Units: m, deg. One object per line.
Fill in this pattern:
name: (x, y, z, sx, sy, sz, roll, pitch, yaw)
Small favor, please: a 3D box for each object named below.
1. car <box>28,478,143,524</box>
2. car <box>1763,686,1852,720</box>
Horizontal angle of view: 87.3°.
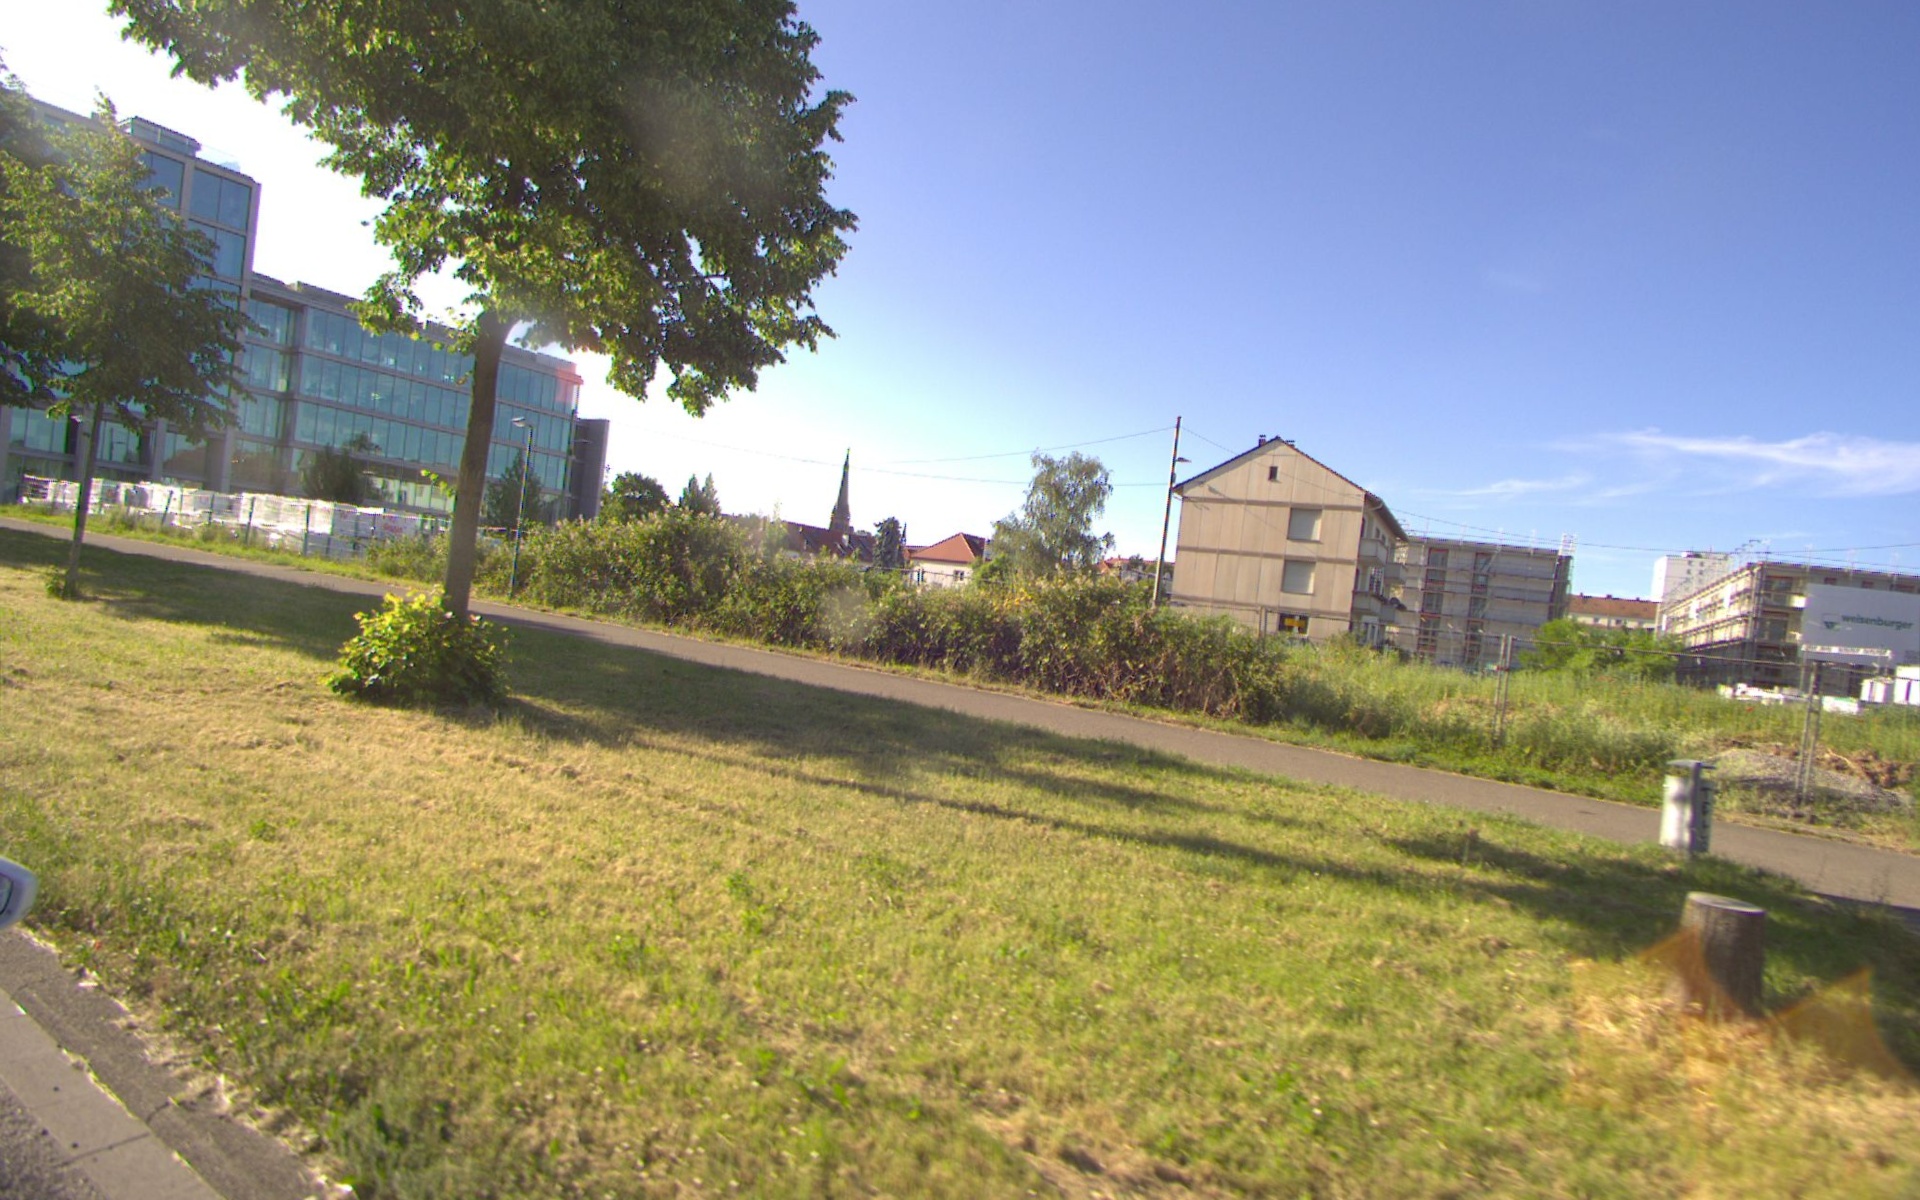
car: (-54.505, -6.146, 62.819, 1.910, 2.006, 5.063, 7, 0, 39)
car: (55.067, 6.687, 65.456, 3.924, 1.637, 1.834, 6, -1, 16)
